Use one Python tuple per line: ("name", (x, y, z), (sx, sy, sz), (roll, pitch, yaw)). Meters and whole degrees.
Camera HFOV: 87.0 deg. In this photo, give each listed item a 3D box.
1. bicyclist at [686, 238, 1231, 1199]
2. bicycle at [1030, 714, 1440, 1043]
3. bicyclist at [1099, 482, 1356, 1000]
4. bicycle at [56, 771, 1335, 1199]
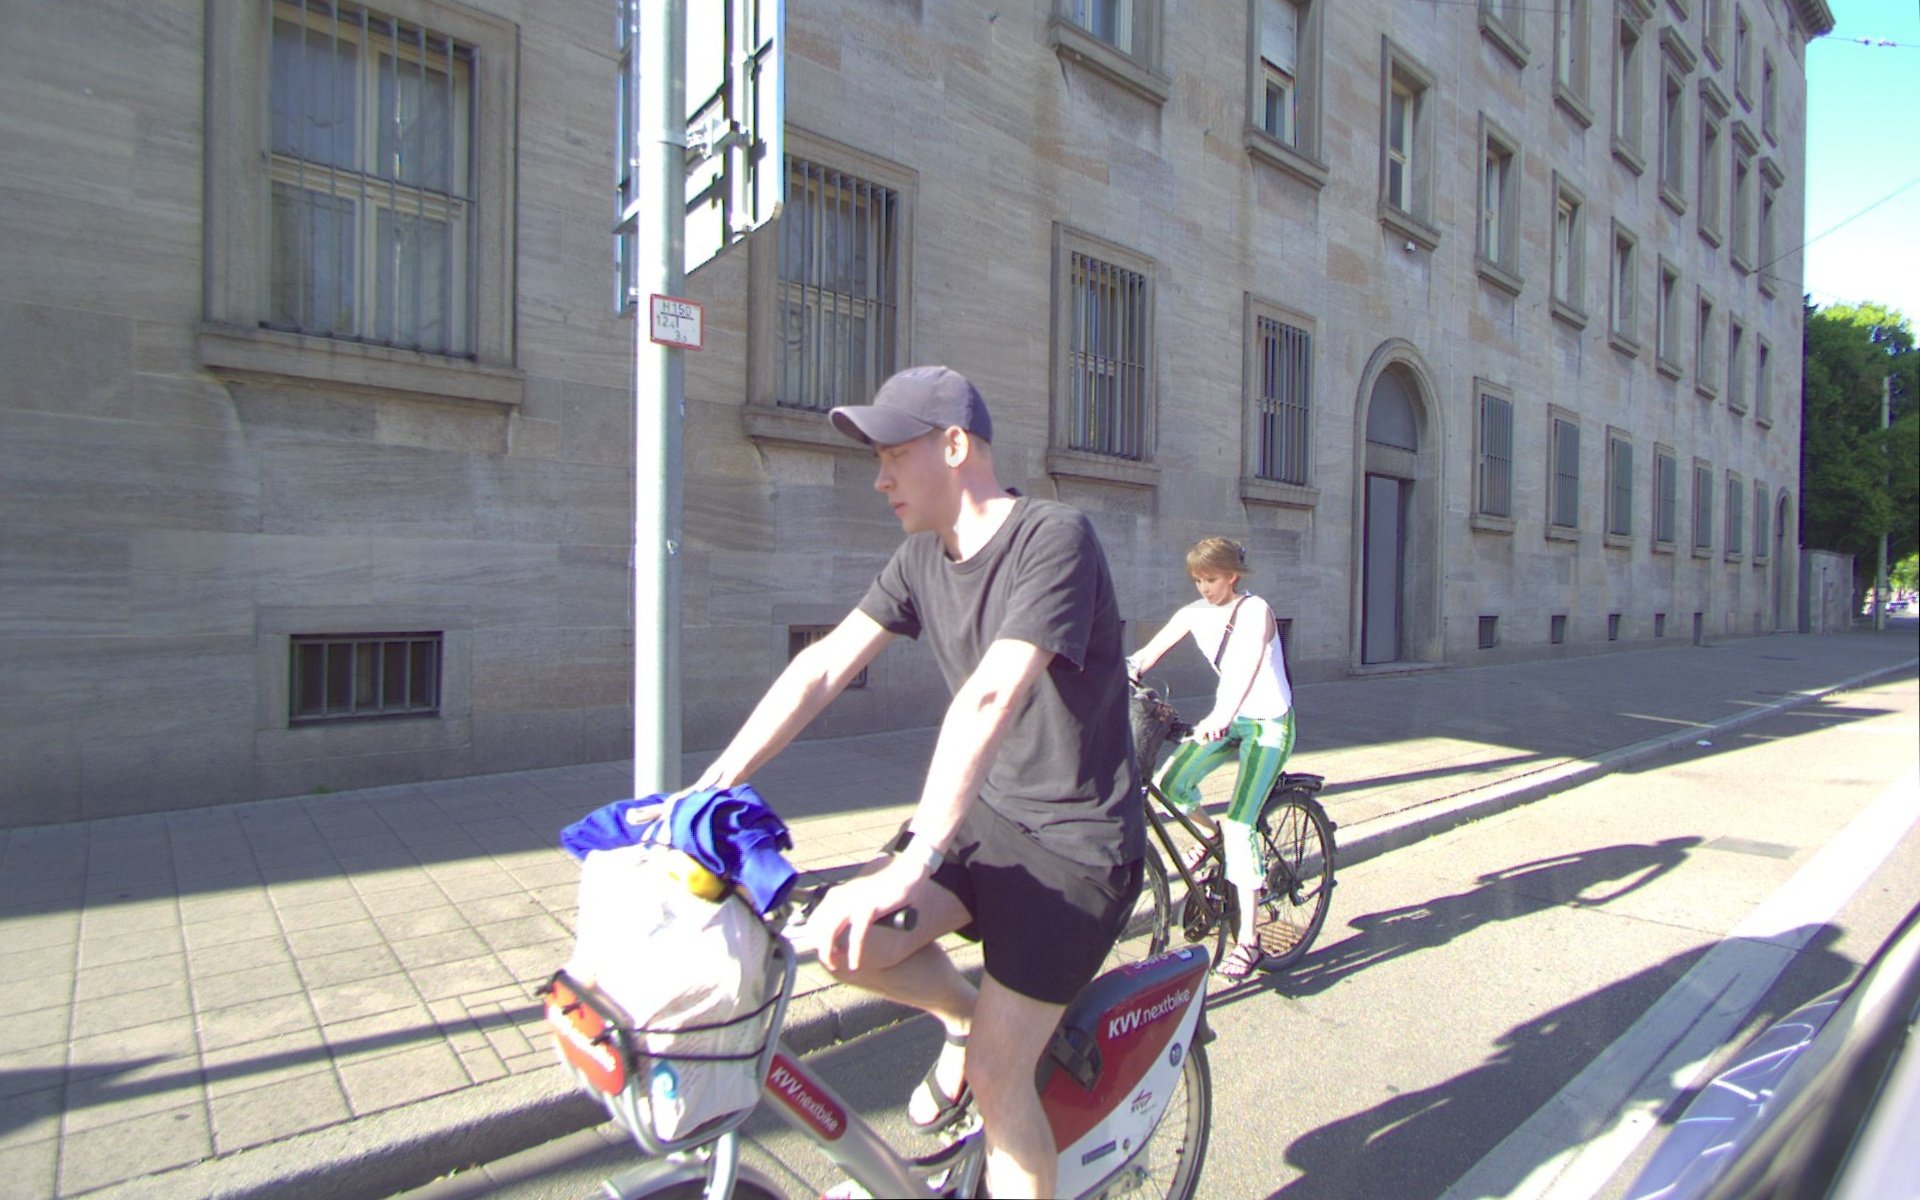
("bicyclist", (-0.019, 0.384, 1.749), (0.645, 1.699, 0.671), (0, 1, -40))
("bicycle", (1.138, 0.940, 3.871), (1.914, 0.887, 0.428), (2, 0, -38))
("bicyclist", (1.012, 0.457, 3.794), (0.844, 1.700, 0.522), (0, 1, -41))
("bicycle", (-0.177, 0.856, 1.664), (1.912, 0.916, 0.391), (0, 1, -32))
